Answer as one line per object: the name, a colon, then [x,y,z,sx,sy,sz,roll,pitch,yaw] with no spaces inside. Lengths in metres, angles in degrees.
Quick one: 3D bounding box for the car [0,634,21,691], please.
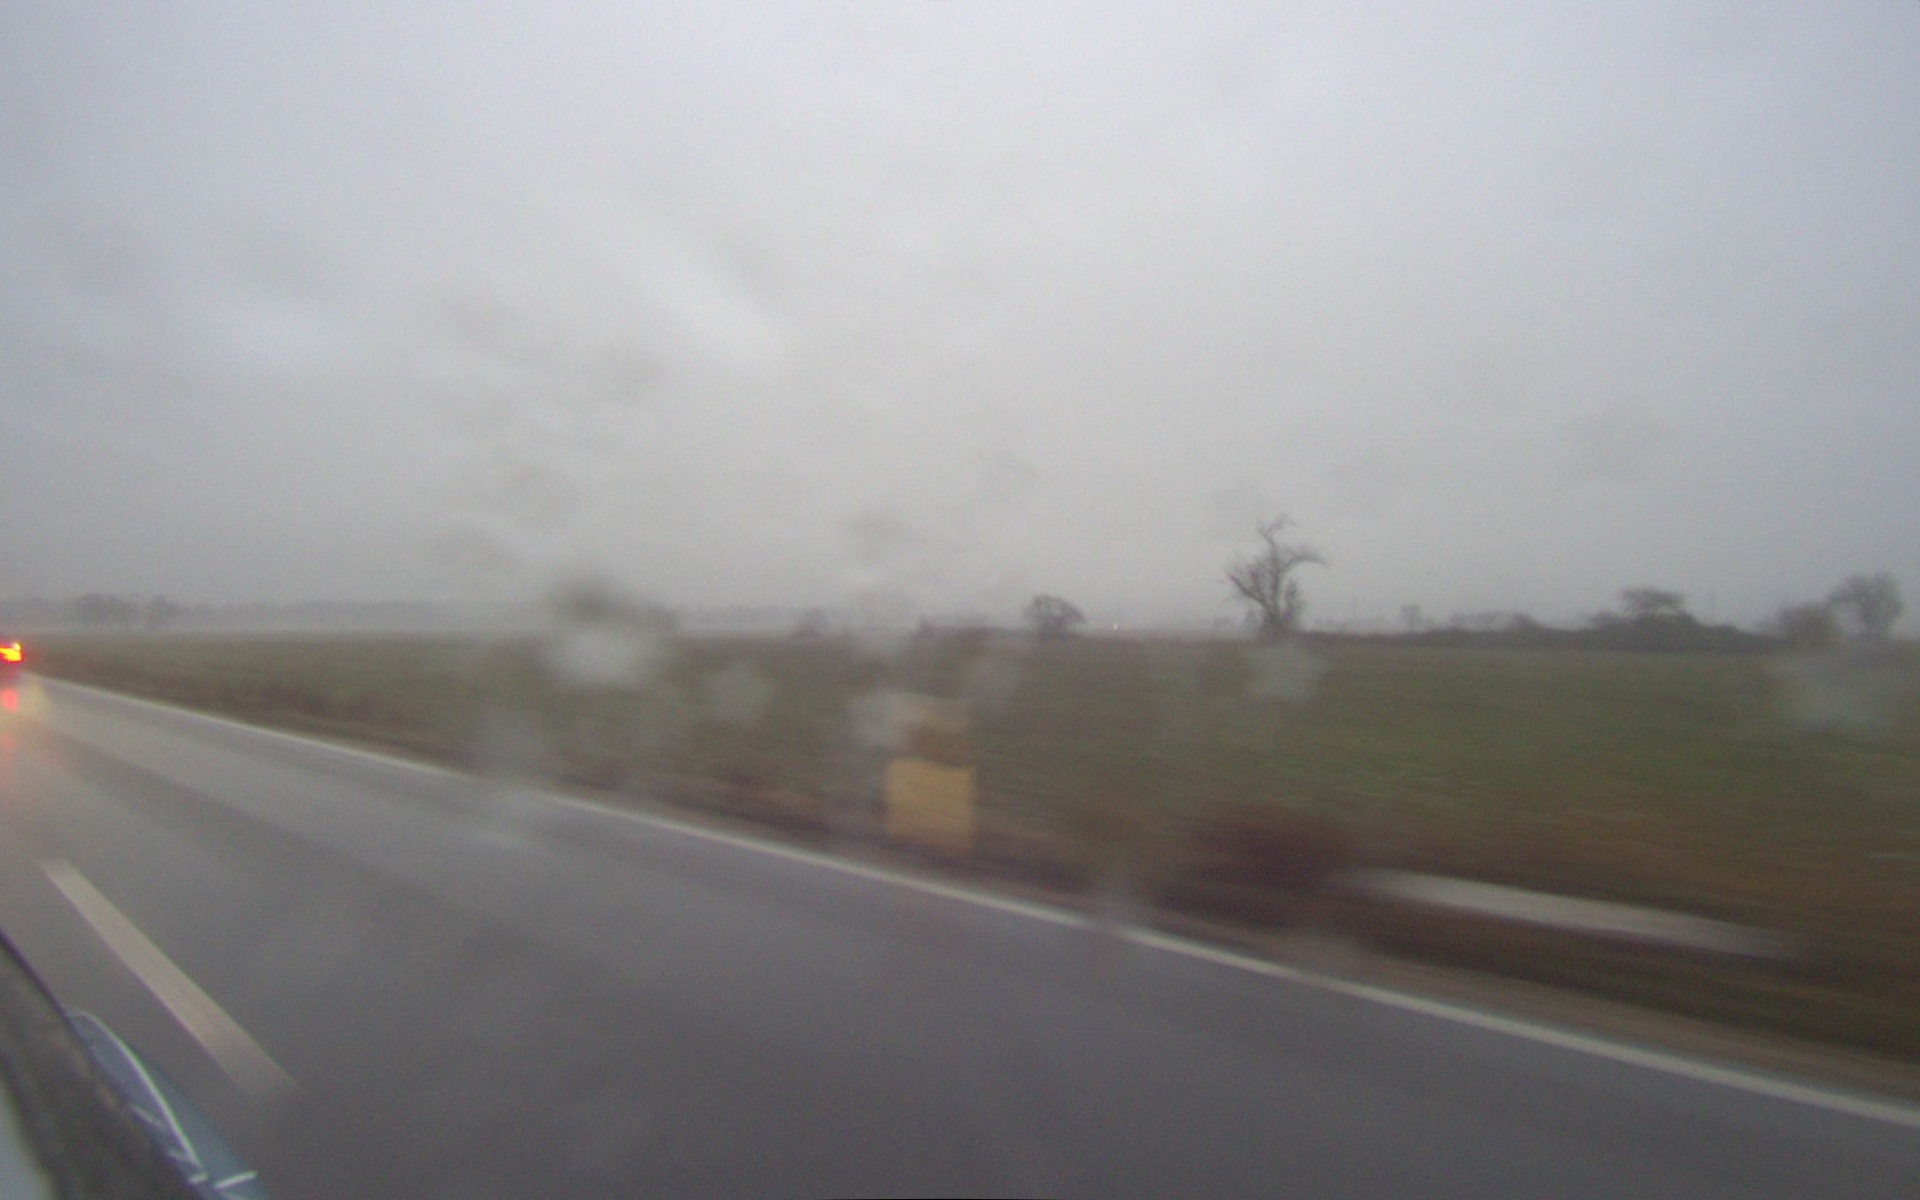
car: [-26.670,1.661,26.984,4.396,1.382,1.973,-1,-1,41]
